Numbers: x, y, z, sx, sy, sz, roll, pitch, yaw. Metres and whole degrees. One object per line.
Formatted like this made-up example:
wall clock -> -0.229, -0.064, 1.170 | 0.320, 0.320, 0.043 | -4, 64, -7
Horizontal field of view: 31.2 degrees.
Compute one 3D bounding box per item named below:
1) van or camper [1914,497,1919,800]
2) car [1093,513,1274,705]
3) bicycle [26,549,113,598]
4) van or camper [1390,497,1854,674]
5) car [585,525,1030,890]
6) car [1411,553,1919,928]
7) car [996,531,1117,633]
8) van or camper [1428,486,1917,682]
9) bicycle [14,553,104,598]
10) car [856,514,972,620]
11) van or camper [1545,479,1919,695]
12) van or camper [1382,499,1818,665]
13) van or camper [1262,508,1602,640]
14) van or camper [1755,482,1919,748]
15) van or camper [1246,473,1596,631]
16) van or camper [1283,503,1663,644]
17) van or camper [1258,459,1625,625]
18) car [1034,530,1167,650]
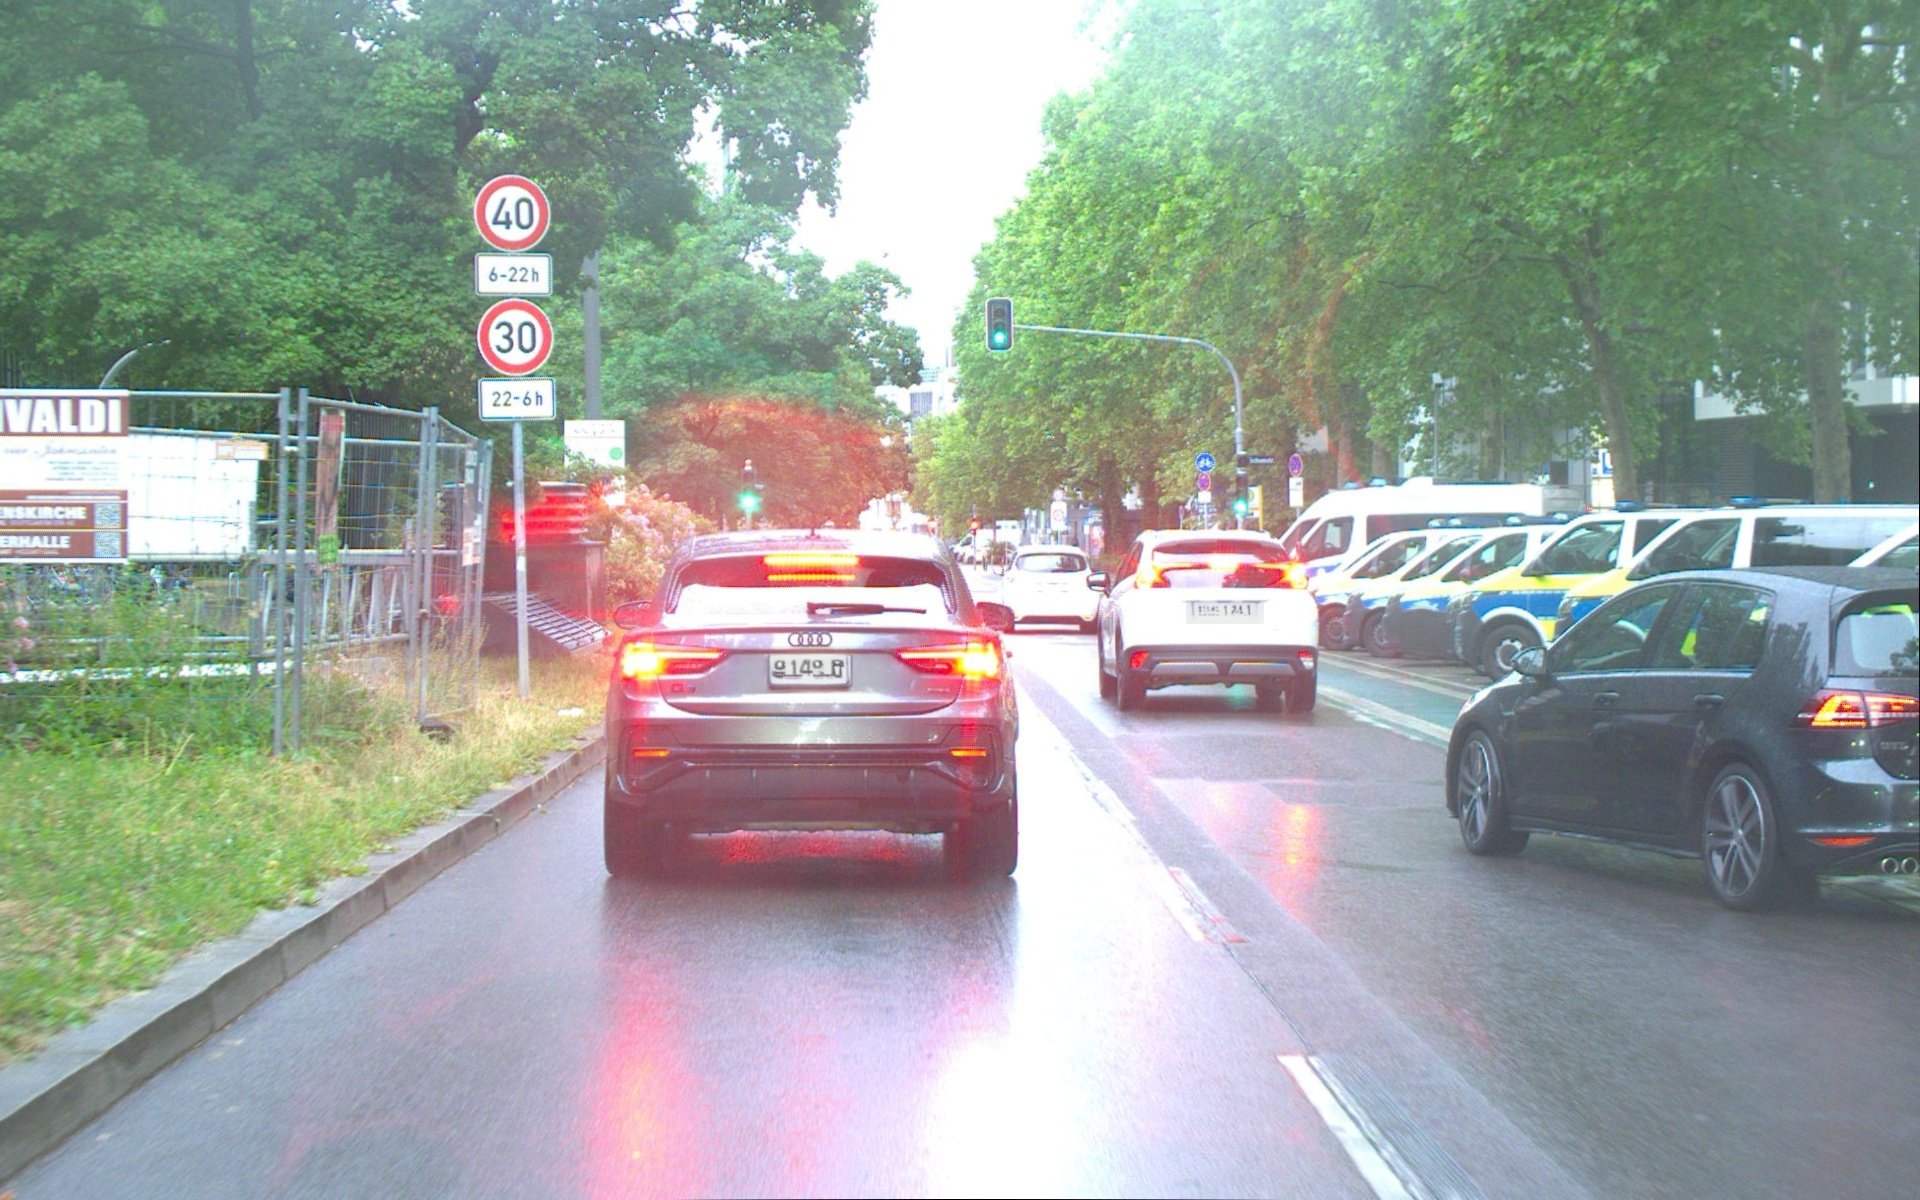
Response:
van or camper -> 8.267, 0.249, 19.762 | 4.942, 1.985, 1.998 | 1, 1, 37
car -> 2.033, 0.049, 31.868 | 1.433, 1.679, 2.979 | -1, 1, -1
bicycle -> -20.008, -0.596, 77.278 | 1.844, 1.094, 0.615 | 0, 1, -8
van or camper -> 7.794, -0.191, 40.649 | 5.017, 1.988, 1.996 | 0, 1, 32
car -> -0.627, 0.402, 16.649 | 1.863, 1.527, 4.527 | 0, 1, 0
car -> 3.650, 0.514, 15.431 | 1.764, 1.408, 4.001 | -1, 1, -16
car -> 1.694, -0.349, 61.604 | 1.993, 1.744, 4.000 | 0, 1, -1
van or camper -> 7.693, -0.195, 37.309 | 4.789, 2.004, 1.996 | 1, 1, 35
bicycle -> -19.943, -0.547, 76.126 | 1.844, 0.975, 0.566 | 0, 1, -3
car -> -0.722, -0.531, 52.942 | 1.721, 1.572, 3.962 | 0, 1, -1
van or camper -> 8.285, -0.152, 33.268 | 4.849, 1.991, 1.864 | 1, 1, 36
van or camper -> 8.168, -0.263, 44.129 | 5.102, 2.018, 2.101 | 1, 1, 37
van or camper -> 7.480, -0.402, 54.706 | 5.010, 2.007, 1.996 | 0, 0, 35
van or camper -> 8.878, 0.151, 26.212 | 5.082, 2.012, 1.993 | 2, 1, 36
van or camper -> 8.099, -0.854, 60.755 | 5.809, 2.668, 2.143 | 1, 1, 37
van or camper -> 7.592, -0.413, 51.119 | 5.202, 1.985, 1.996 | 1, 1, 34
van or camper -> 8.007, -0.963, 57.527 | 5.804, 2.671, 1.996 | 0, 1, 35
car -> 2.111, -0.185, 52.719 | 1.822, 1.744, 4.000 | 0, 1, -1
